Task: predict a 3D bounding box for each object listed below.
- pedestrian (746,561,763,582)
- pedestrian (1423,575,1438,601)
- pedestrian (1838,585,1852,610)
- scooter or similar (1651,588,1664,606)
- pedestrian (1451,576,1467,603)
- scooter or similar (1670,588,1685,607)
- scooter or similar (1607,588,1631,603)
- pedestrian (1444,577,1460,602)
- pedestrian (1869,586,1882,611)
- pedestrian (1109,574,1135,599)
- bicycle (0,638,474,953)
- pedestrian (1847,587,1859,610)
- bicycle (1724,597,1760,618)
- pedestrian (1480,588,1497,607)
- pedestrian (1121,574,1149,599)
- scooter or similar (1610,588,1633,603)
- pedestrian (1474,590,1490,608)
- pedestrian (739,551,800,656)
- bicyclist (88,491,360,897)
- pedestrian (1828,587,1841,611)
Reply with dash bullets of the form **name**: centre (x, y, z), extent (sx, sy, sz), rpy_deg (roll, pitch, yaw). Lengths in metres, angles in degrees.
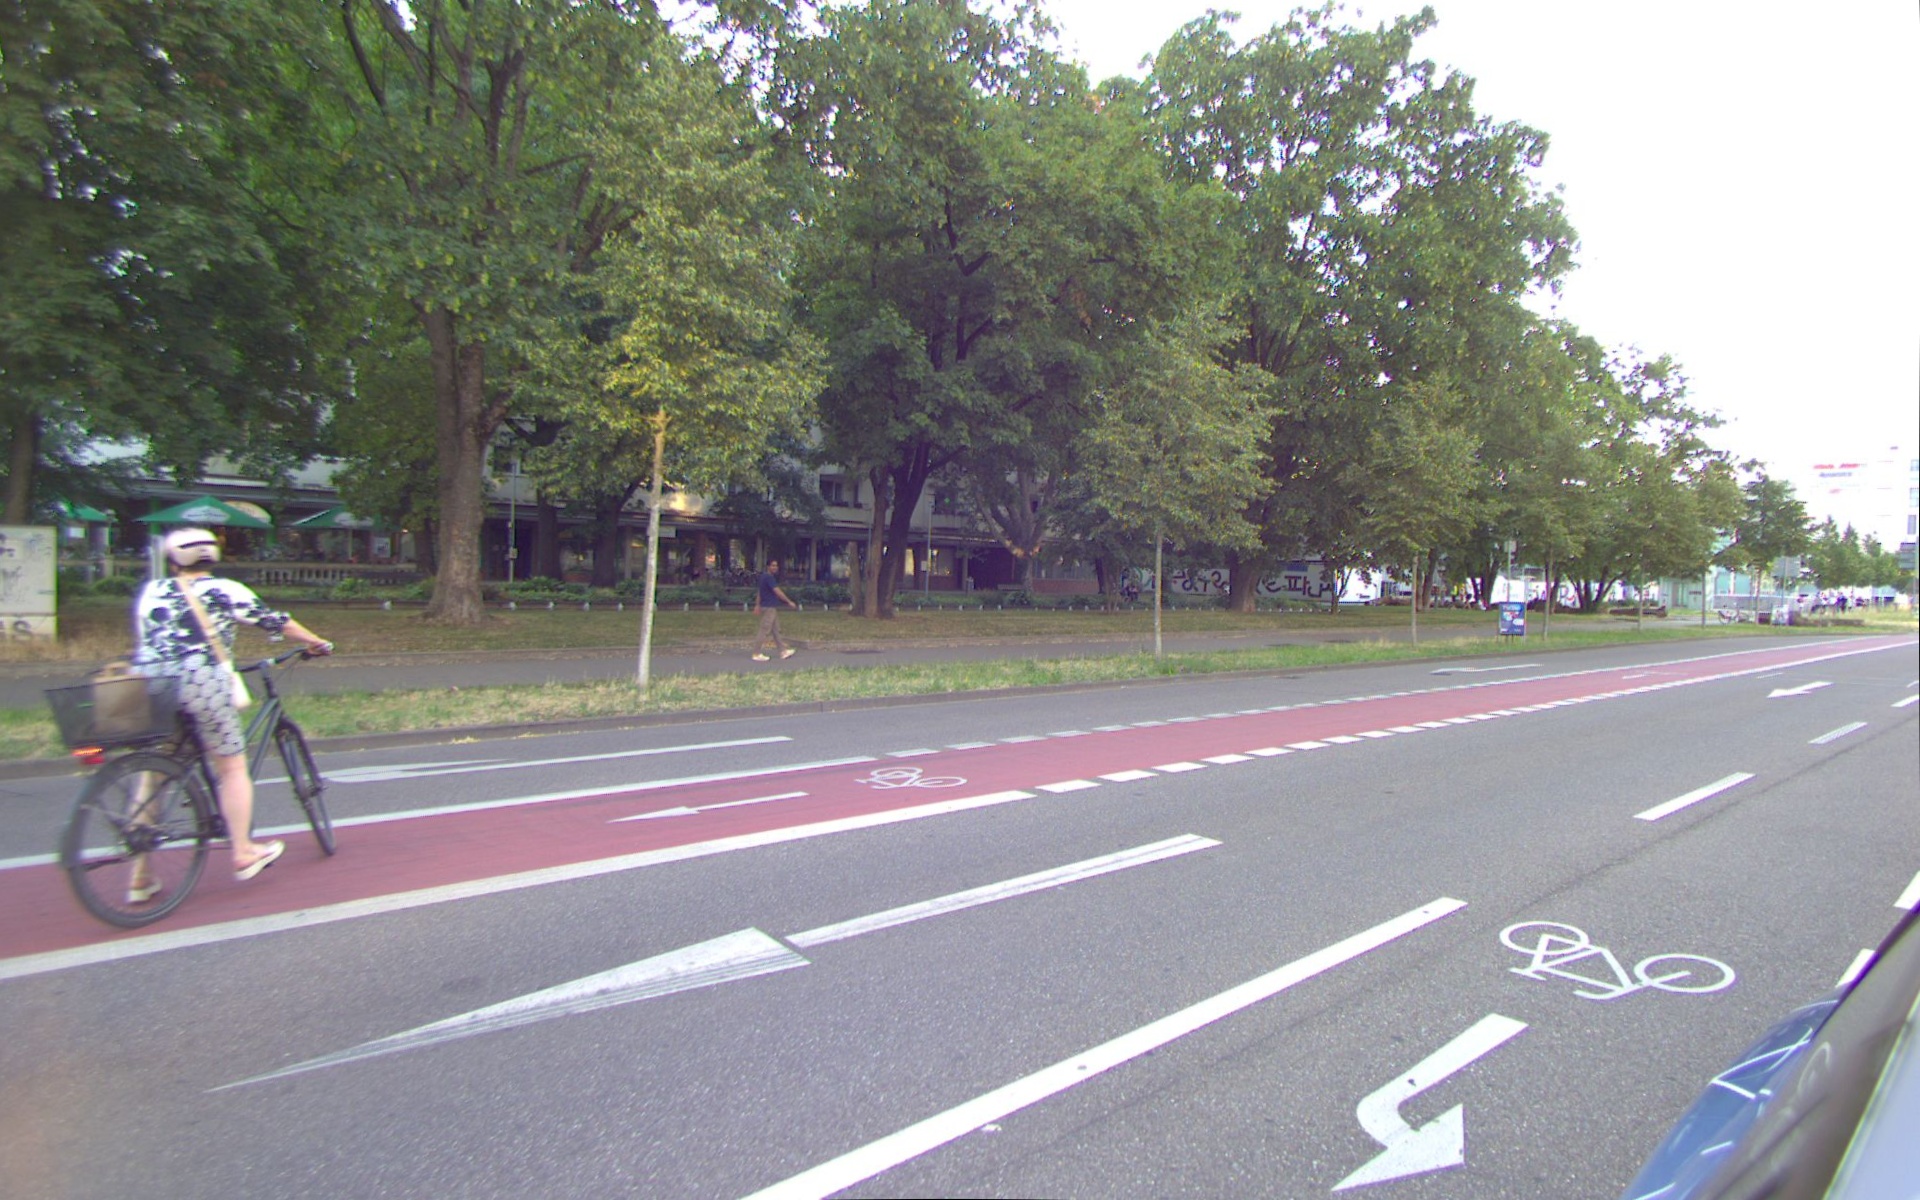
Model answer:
- **pedestrian**: centre (-11.959, -1.674, 58.956), extent (0.687, 1.178, 0.788), rpy_deg (1, 2, -38)
- **pedestrian**: centre (34.863, -0.878, 75.036), extent (0.587, 1.879, 0.771), rpy_deg (1, 1, -25)
- **pedestrian**: centre (72.216, -0.203, 82.581), extent (0.608, 1.957, 0.644), rpy_deg (1, 2, -38)
- **scooter or similar**: centre (49.402, -0.212, 71.694), extent (0.473, 1.235, 1.550), rpy_deg (6, 4, 43)
- **pedestrian**: centre (35.982, -0.759, 72.920), extent (0.587, 1.943, 0.771), rpy_deg (1, 1, -25)
- **scooter or similar**: centre (50.209, -0.174, 70.845), extent (1.374, 1.235, 0.425), rpy_deg (1, 4, -40)
- **scooter or similar**: centre (54.645, -0.384, 83.899), extent (0.466, 1.236, 1.571), rpy_deg (0, 1, -42)
- **pedestrian**: centre (36.265, -0.796, 74.603), extent (0.587, 1.843, 0.771), rpy_deg (1, 1, -25)
- **pedestrian**: centre (73.012, -0.104, 80.681), extent (0.608, 1.957, 0.644), rpy_deg (1, 2, -40)
- **pedestrian**: centre (8.613, -0.734, 53.787), extent (0.712, 1.276, 1.135), rpy_deg (1, 2, -38)
- **bicycle**: centre (-3.359, 0.793, 4.959), extent (0.719, 1.082, 2.016), rpy_deg (1, 1, 10)
- **pedestrian**: centre (76.640, -0.141, 86.876), extent (0.608, 1.957, 0.644), rpy_deg (1, 2, -38)
- **bicycle**: centre (40.528, 0.384, 52.416), extent (1.858, 1.017, 0.497), rpy_deg (2, 4, -21)
- **pedestrian**: centre (26.262, -0.111, 50.272), extent (0.674, 0.895, 0.588), rpy_deg (2, 2, 25)
- **pedestrian**: centre (9.383, -0.718, 54.321), extent (0.889, 1.276, 1.135), rpy_deg (1, 2, -38)
- **scooter or similar**: centre (55.207, -0.401, 84.478), extent (0.466, 1.236, 1.571), rpy_deg (0, 1, -42)
- **pedestrian**: centre (26.278, -0.051, 50.969), extent (0.674, 0.895, 0.618), rpy_deg (2, 2, 27)
- **pedestrian**: centre (-3.198, 0.039, 17.009), extent (0.735, 1.714, 0.696), rpy_deg (0, 2, -41)
- **bicyclist**: centre (-3.395, 0.384, 4.718), extent (0.704, 1.714, 0.746), rpy_deg (2, 1, 12)
- **pedestrian**: centre (71.897, -0.102, 83.197), extent (0.608, 1.957, 0.644), rpy_deg (1, 2, -38)
